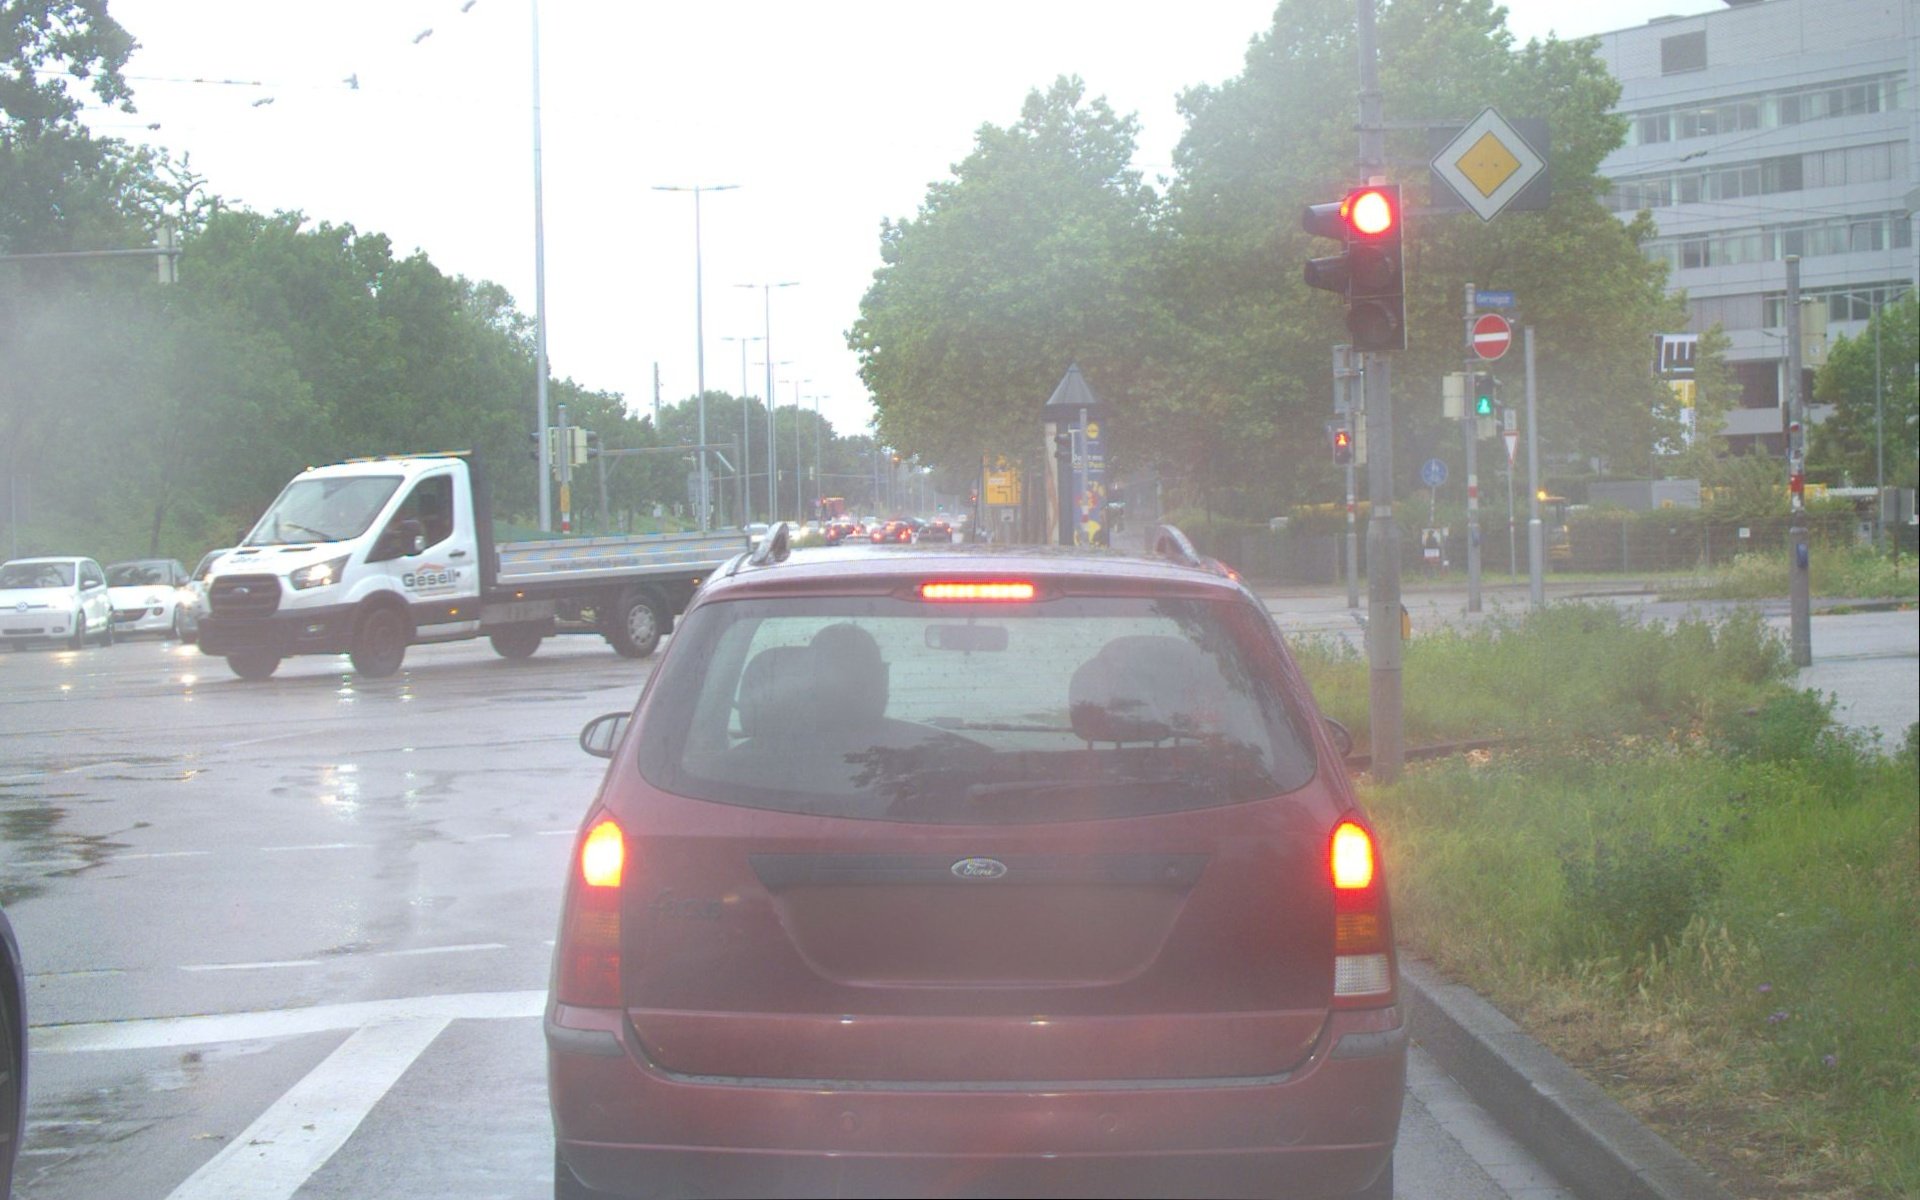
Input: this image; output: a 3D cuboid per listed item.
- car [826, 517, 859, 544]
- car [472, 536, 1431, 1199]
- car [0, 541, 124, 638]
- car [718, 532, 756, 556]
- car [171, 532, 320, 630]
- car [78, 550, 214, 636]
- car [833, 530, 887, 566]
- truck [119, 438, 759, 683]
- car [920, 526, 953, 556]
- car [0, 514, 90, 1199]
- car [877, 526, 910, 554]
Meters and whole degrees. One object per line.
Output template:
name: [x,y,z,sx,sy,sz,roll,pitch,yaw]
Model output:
car: [-6.900,-4.067,202.181,1.698,1.522,3.846,-1,1,1]
car: [-0.067,0.605,7.810,1.642,1.460,3.733,1,1,-2]
car: [-14.632,-0.194,55.113,1.638,1.447,3.788,-2,1,-3]
car: [-14.850,-3.767,229.288,2.094,1.522,4.192,-1,1,2]
car: [-11.632,-0.339,56.156,1.638,1.468,3.965,-2,1,-1]
car: [-14.509,-0.145,61.441,1.590,1.399,3.823,-2,1,-2]
car: [-4.449,-2.326,153.107,2.147,1.522,4.192,-1,1,2]
truck: [-5.352,-0.477,36.548,2.480,2.357,6.853,-1,1,38]
car: [-1.247,-3.162,183.741,1.671,1.522,3.846,-1,1,1]
car: [-2.684,0.648,4.909,1.769,1.568,4.822,1,1,-2]
car: [-3.738,-3.374,194.096,1.698,1.522,3.846,-1,1,1]
